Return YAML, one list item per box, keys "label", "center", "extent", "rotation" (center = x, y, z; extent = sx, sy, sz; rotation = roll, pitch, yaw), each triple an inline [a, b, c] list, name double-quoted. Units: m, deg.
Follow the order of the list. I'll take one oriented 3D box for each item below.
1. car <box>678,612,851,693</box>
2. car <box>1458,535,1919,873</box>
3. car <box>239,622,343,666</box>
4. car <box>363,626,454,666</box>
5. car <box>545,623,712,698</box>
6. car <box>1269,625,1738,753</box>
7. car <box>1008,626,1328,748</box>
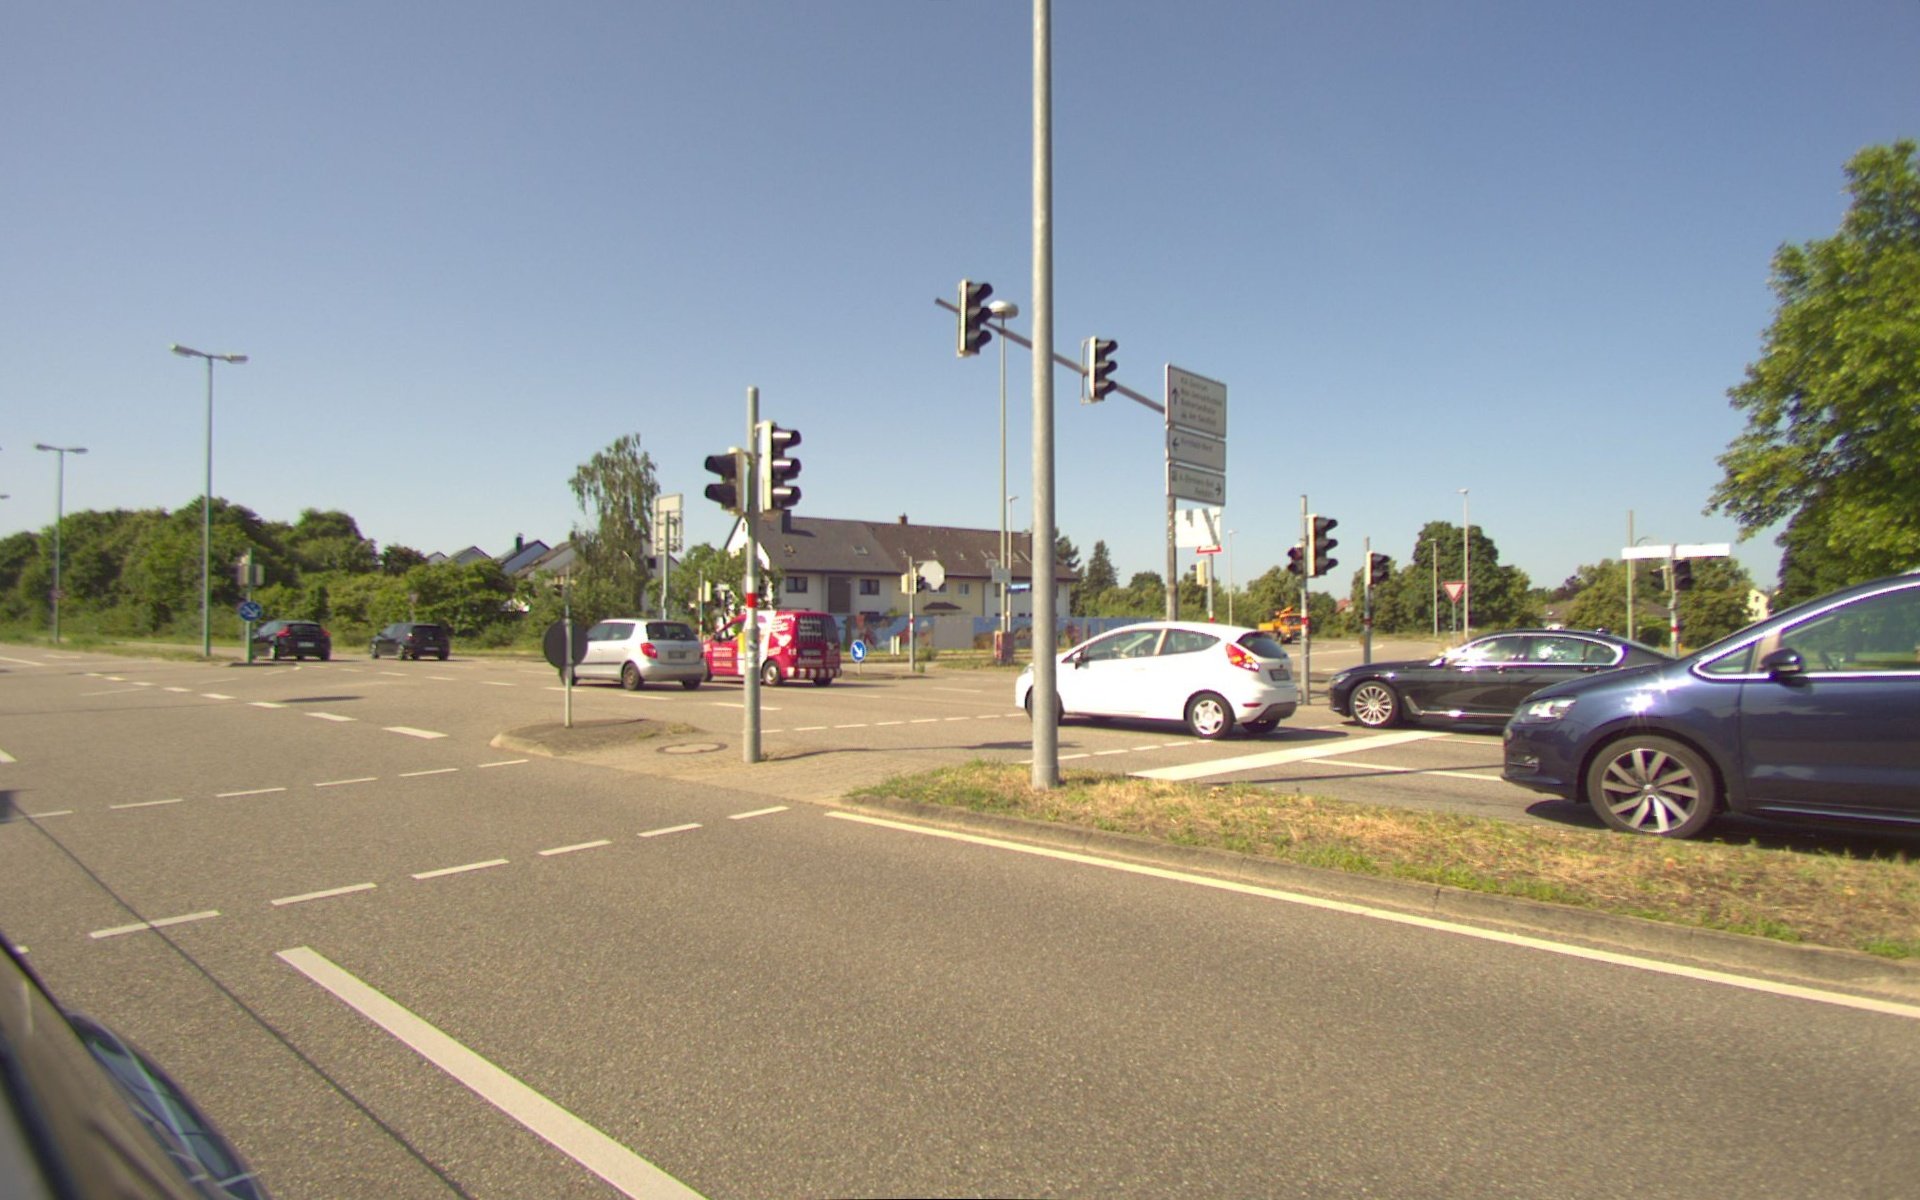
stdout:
- label: "car"
  center: [-4.735, 1.221, 24.230]
  extent: [4.222, 1.783, 1.688]
  rotation: [-1, -3, 38]
- label: "car"
  center: [5.674, 0.586, 6.013]
  extent: [4.508, 1.764, 1.959]
  rotation: [-2, -4, 43]
- label: "car"
  center: [-23.900, 1.541, 36.097]
  extent: [4.329, 1.468, 1.961]
  rotation: [-1, -2, 40]
- label: "car"
  center: [-21.452, 1.743, 39.306]
  extent: [4.230, 1.468, 1.864]
  rotation: [-1, -2, 43]
- label: "car"
  center: [-7.117, 1.226, 21.564]
  extent: [3.869, 1.468, 1.602]
  rotation: [-1, -2, 40]
- label: "car"
  center: [7.492, 1.147, 14.381]
  extent: [5.610, 1.485, 1.974]
  rotation: [-1, -4, 39]
- label: "car"
  center: [2.718, 1.069, 13.602]
  extent: [3.839, 1.397, 1.810]
  rotation: [-1, -3, 40]
